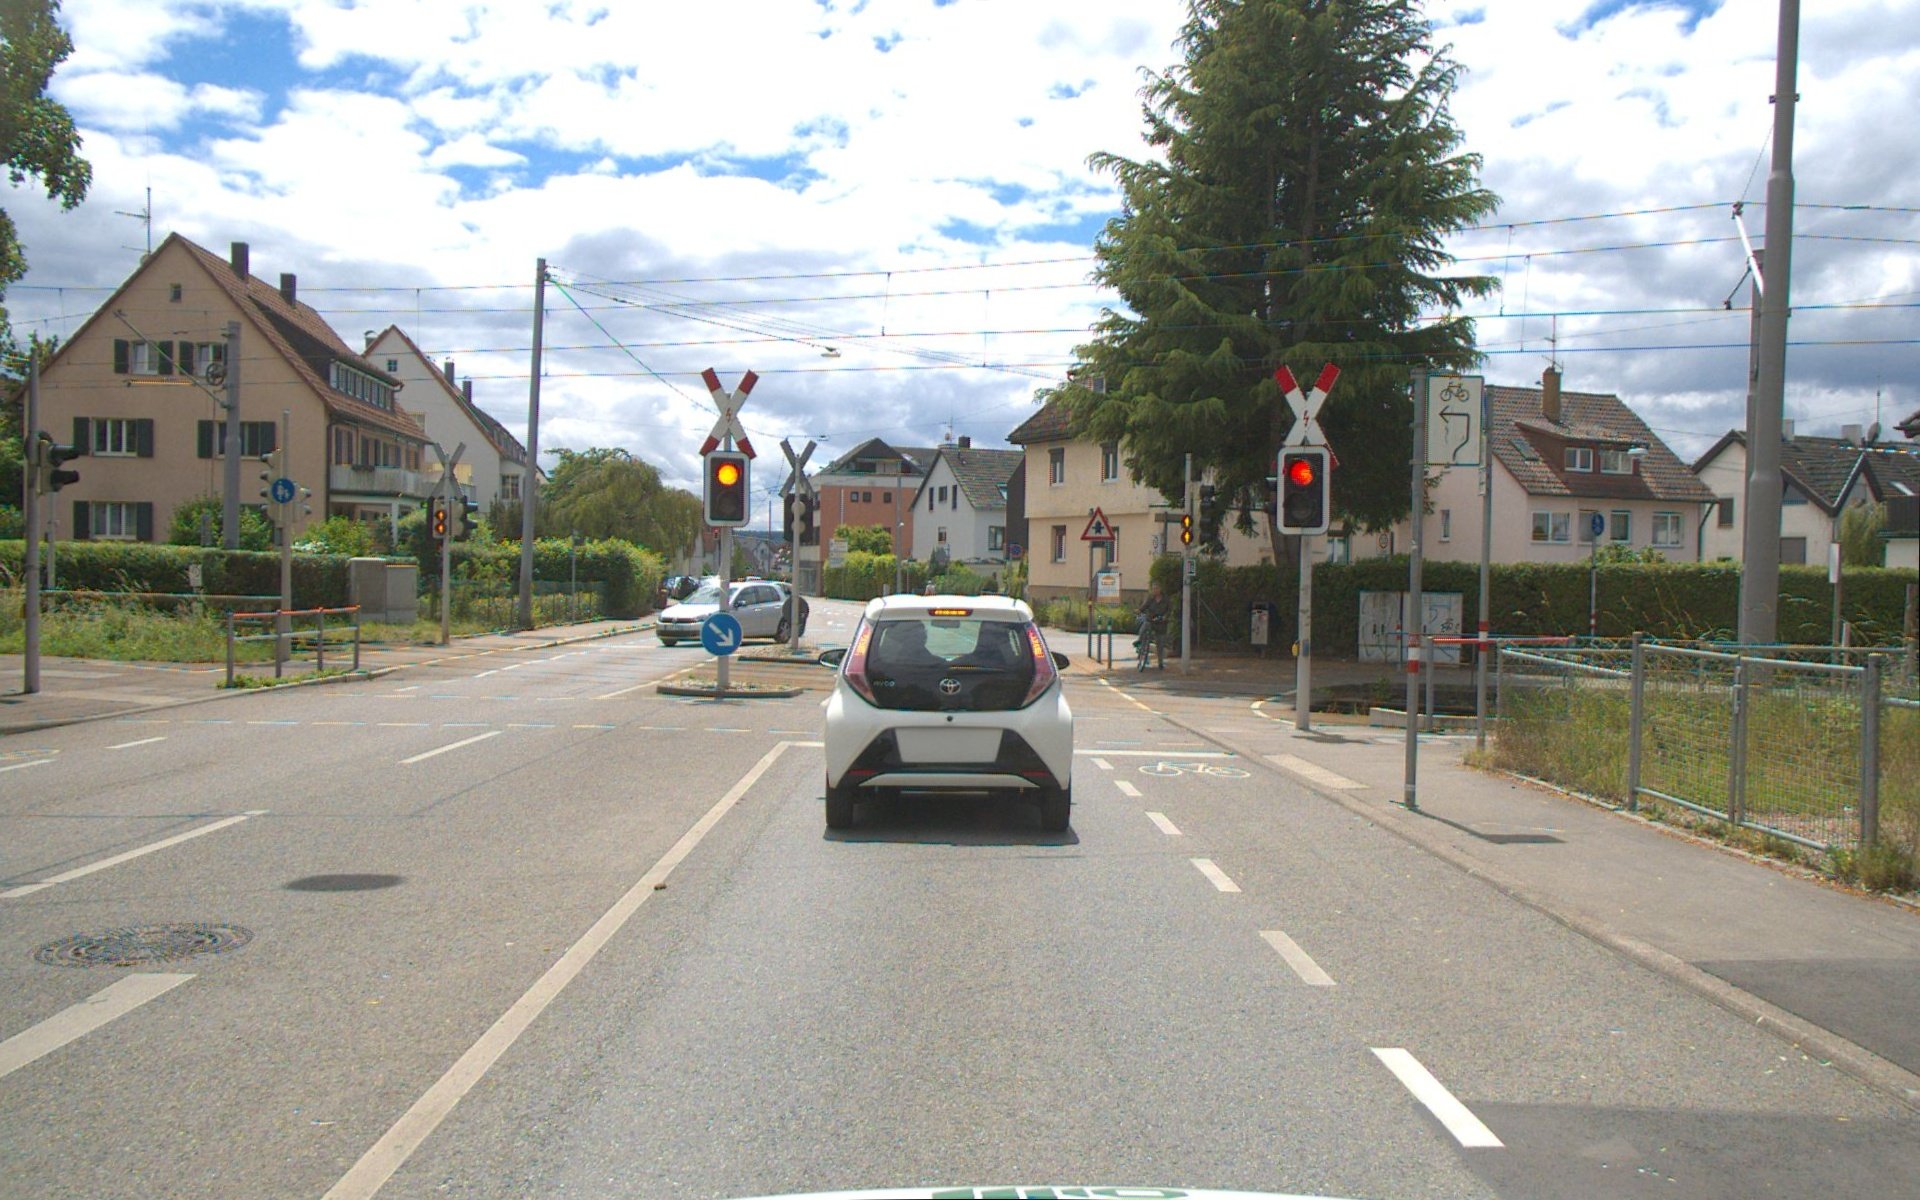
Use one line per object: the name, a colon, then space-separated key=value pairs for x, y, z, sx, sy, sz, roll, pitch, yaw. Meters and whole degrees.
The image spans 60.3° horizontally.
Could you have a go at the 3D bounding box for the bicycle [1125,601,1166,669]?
bicycle: x=3.581 y=0.667 z=31.973 sx=0.449 sy=1.192 sz=1.477 roll=-2 pitch=3 yaw=-6

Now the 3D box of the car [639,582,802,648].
car: x=-5.729 y=0.353 z=40.032 sx=1.868 sy=1.466 sz=4.094 roll=2 pitch=0 yaw=27

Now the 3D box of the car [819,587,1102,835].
car: x=-0.124 y=0.668 z=11.928 sx=1.687 sy=1.467 sz=3.705 roll=2 pitch=0 yaw=-4

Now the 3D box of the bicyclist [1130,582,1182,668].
bicyclist: x=3.776 y=0.477 z=31.906 sx=0.825 sy=1.580 sz=0.755 roll=-2 pitch=3 yaw=-7

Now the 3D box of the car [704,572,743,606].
car: x=-13.014 y=-0.609 z=91.164 sx=1.956 sy=1.749 sz=3.994 roll=2 pitch=0 yaw=-7

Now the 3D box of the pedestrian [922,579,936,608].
pedestrian: x=-1.723 y=-0.378 z=92.602 sx=0.711 sy=1.604 sz=0.803 roll=2 pitch=0 yaw=-1
